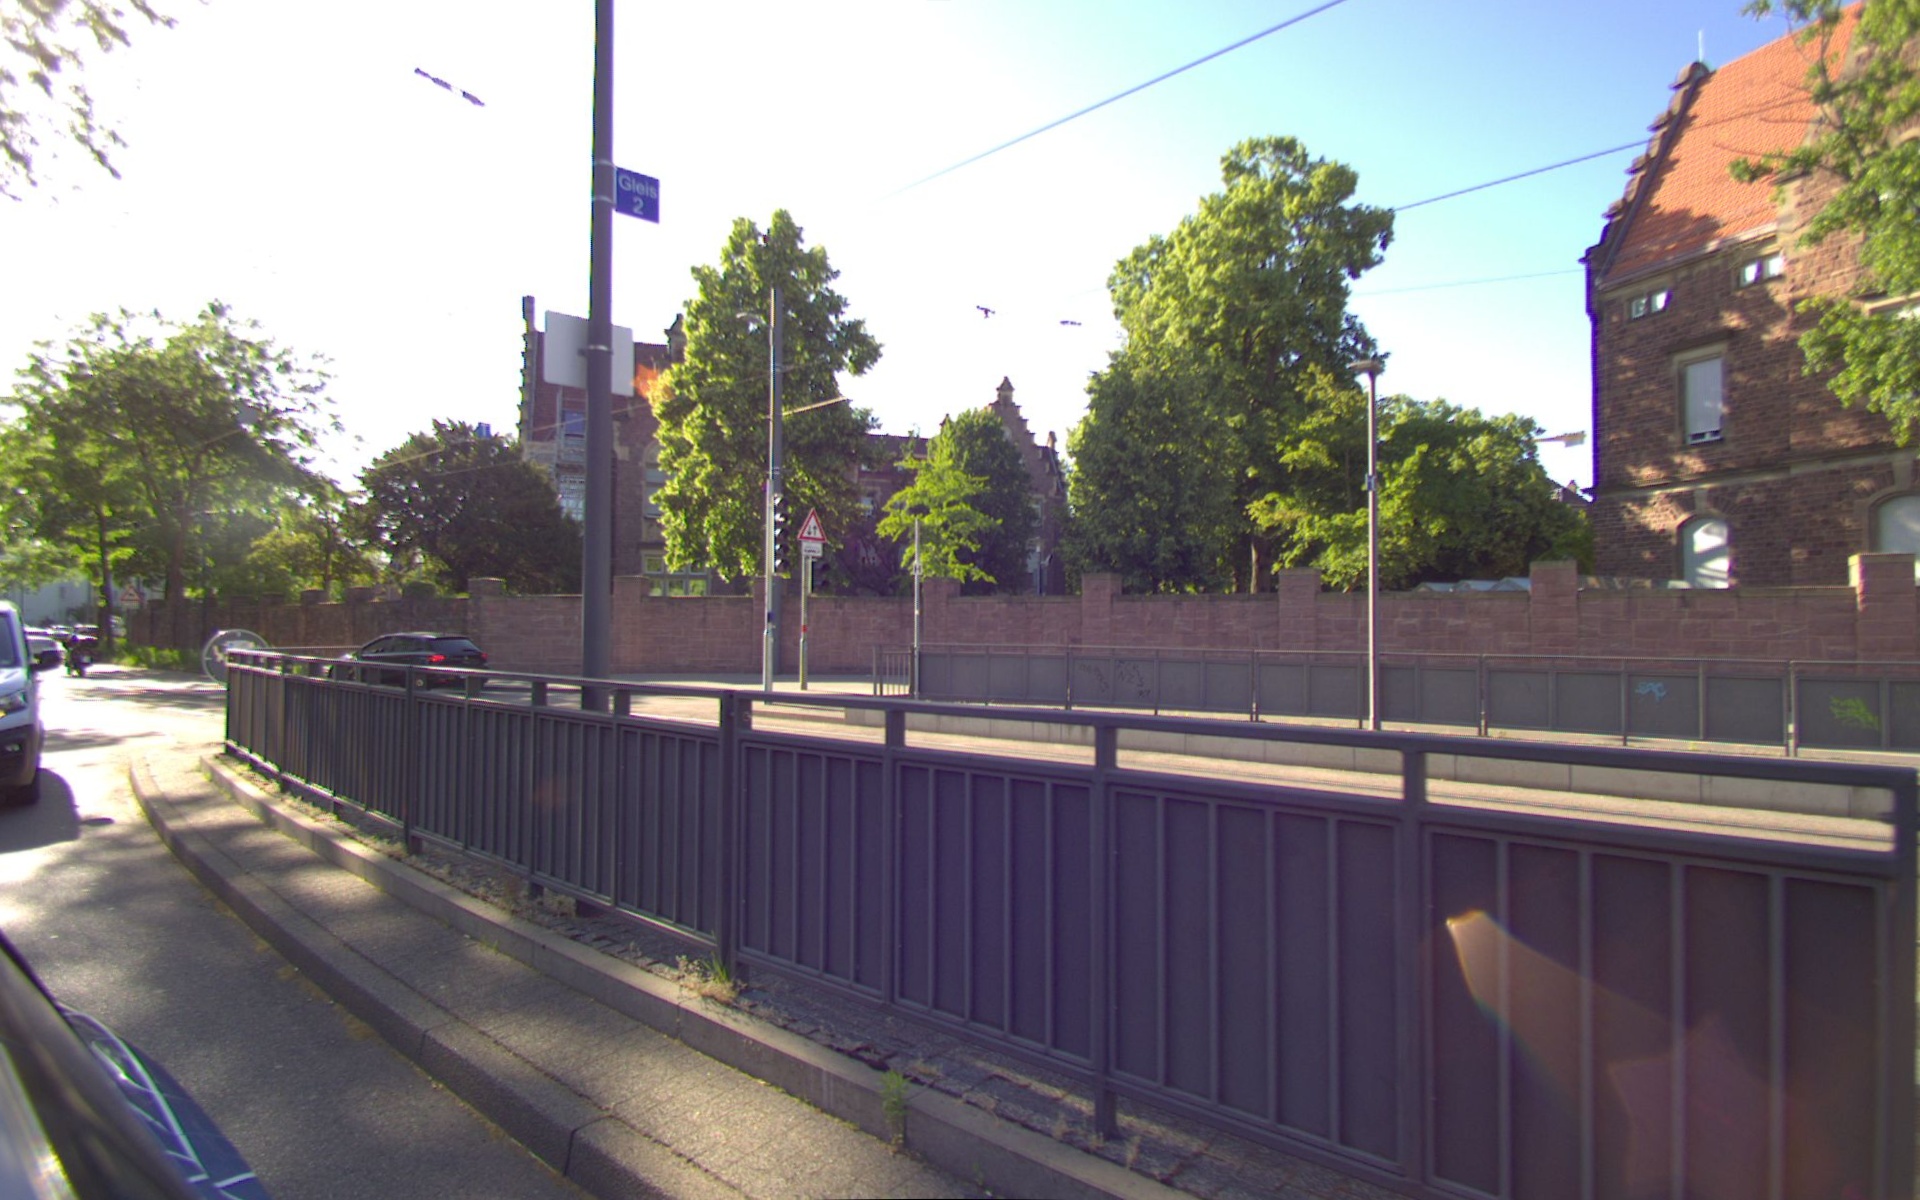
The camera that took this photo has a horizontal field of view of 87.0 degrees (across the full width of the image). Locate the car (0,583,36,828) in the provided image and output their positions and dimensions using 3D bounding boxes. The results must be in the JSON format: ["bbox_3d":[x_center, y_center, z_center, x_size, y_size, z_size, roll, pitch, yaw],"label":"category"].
[{"bbox_3d":[-9.123,0.803,8.547,1.806,1.812,4.337,1,-1,-44],"label":"car"}]

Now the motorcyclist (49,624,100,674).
[{"bbox_3d":[-28.049,1.537,32.063,1.055,1.536,1.112,-1,-2,43],"label":"motorcyclist"}]

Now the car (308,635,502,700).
[{"bbox_3d":[-13.021,1.550,23.775,3.953,1.414,1.848,-1,-3,20],"label":"car"}]

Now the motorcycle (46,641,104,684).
[{"bbox_3d":[-28.028,1.938,32.038,2.574,1.253,1.117,-1,-2,43],"label":"motorcycle"}]
